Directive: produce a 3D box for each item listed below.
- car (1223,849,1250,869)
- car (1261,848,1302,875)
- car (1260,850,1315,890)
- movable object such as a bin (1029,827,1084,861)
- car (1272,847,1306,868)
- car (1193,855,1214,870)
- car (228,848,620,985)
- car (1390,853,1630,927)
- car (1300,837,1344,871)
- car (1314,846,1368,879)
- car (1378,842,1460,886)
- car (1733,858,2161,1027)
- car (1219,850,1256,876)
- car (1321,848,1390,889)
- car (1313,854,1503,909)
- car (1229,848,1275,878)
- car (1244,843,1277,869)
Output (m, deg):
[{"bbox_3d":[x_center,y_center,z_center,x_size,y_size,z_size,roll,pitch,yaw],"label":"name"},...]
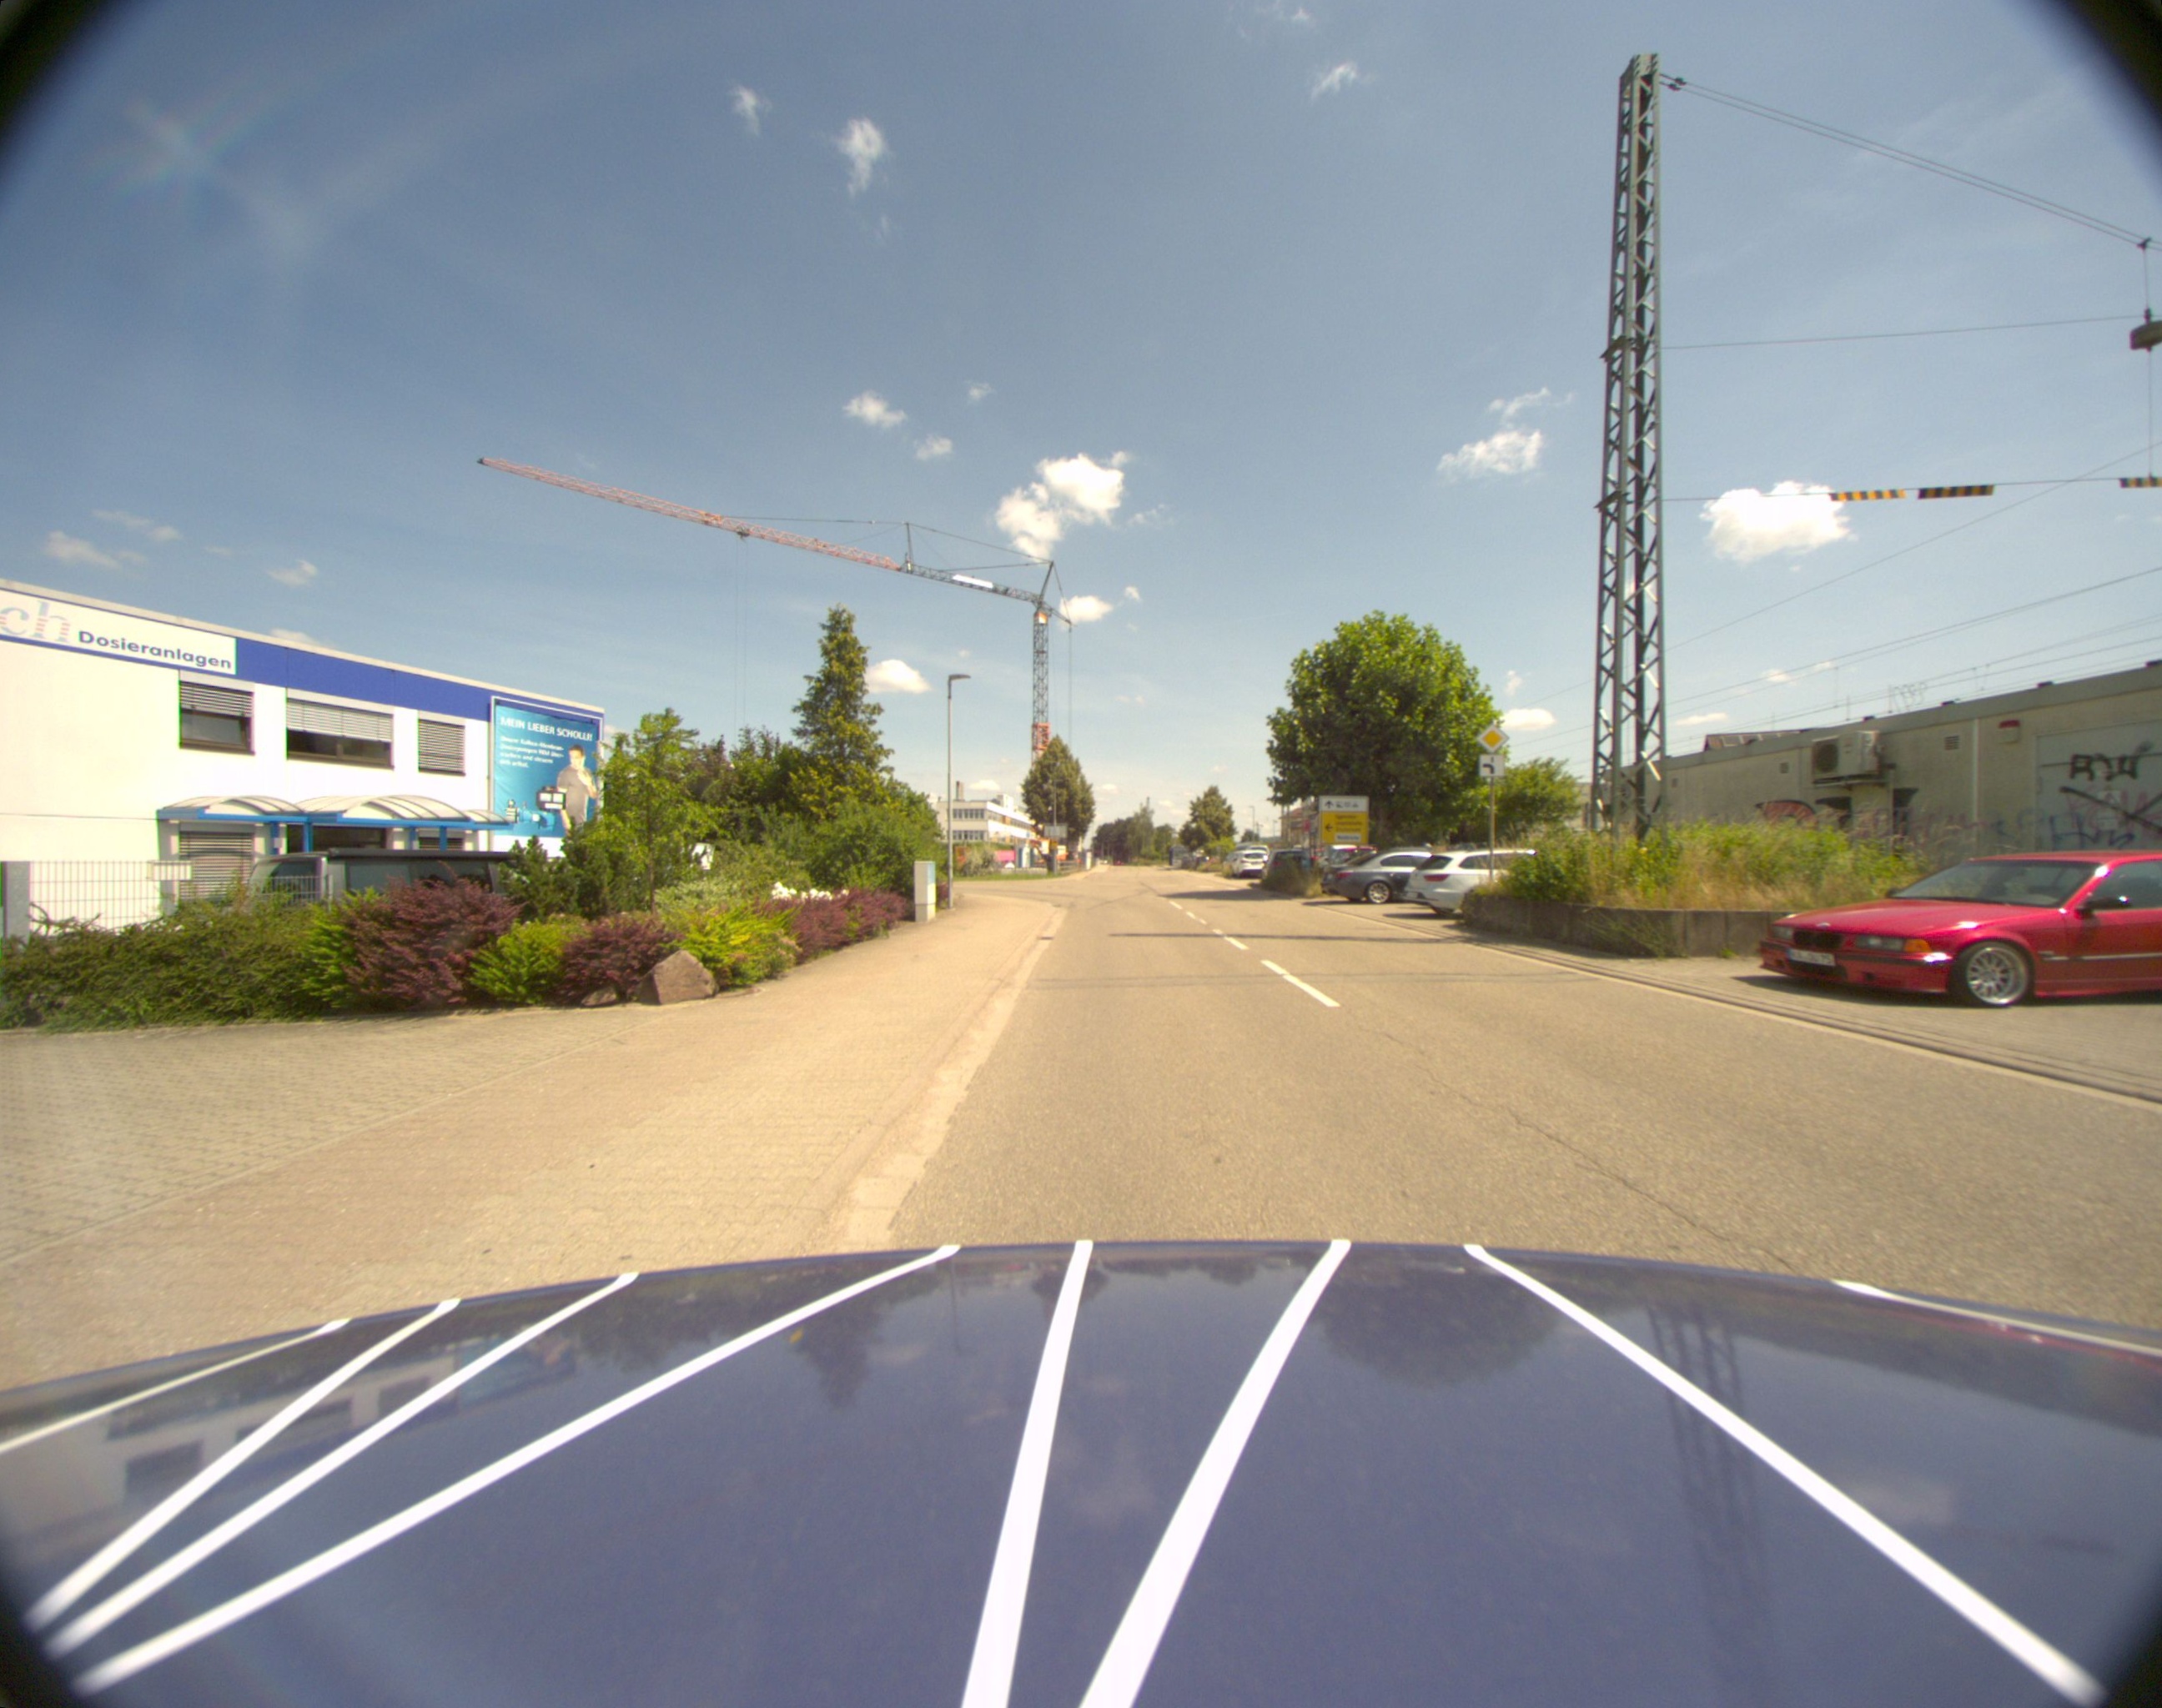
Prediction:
[{"bbox_3d":[13.284,0.408,65.167,1.732,1.676,4.001,1,0,4],"label":"car"},{"bbox_3d":[12.376,0.431,47.150,1.804,1.555,4.264,0,0,6],"label":"car"},{"bbox_3d":[8.357,0.599,31.006,1.688,1.522,4.065,0,0,8],"label":"car"},{"bbox_3d":[-2.482,-1.033,76.265,5.132,3.276,2.390,0,6,-15],"label":"movable object such as a bin"},{"bbox_3d":[16.031,0.254,58.647,1.952,1.599,4.274,0,0,7],"label":"car"},{"bbox_3d":[11.980,0.818,74.605,1.607,1.342,4.001,0,0,4],"label":"car"},{"bbox_3d":[-10.940,0.857,13.239,1.899,1.788,4.797,1,2,20],"label":"car"},{"bbox_3d":[8.953,0.716,16.110,4.083,1.394,1.786,-1,0,0],"label":"car"},{"bbox_3d":[14.886,0.002,47.149,1.849,2.002,4.002,0,0,6],"label":"car"},{"bbox_3d":[13.937,0.408,40.958,1.997,1.648,4.264,-2,1,8],"label":"car"},{"bbox_3d":[13.459,0.376,30.534,1.997,1.628,4.089,0,0,8],"label":"car"},{"bbox_3d":[8.913,0.748,7.121,4.082,1.360,1.674,-1,-1,2],"label":"car"},{"bbox_3d":[9.670,0.518,47.193,1.794,1.535,3.961,0,0,5],"label":"car"},{"bbox_3d":[10.870,0.549,30.311,1.795,1.528,3.580,0,0,6],"label":"car"},{"bbox_3d":[8.840,0.724,20.799,4.438,1.402,1.787,0,0,-1],"label":"car"},{"bbox_3d":[9.194,0.462,41.090,1.807,1.555,4.264,0,0,5],"label":"car"},{"bbox_3d":[13.336,0.128,56.638,1.952,1.822,3.837,0,0,7],"label":"car"}]
